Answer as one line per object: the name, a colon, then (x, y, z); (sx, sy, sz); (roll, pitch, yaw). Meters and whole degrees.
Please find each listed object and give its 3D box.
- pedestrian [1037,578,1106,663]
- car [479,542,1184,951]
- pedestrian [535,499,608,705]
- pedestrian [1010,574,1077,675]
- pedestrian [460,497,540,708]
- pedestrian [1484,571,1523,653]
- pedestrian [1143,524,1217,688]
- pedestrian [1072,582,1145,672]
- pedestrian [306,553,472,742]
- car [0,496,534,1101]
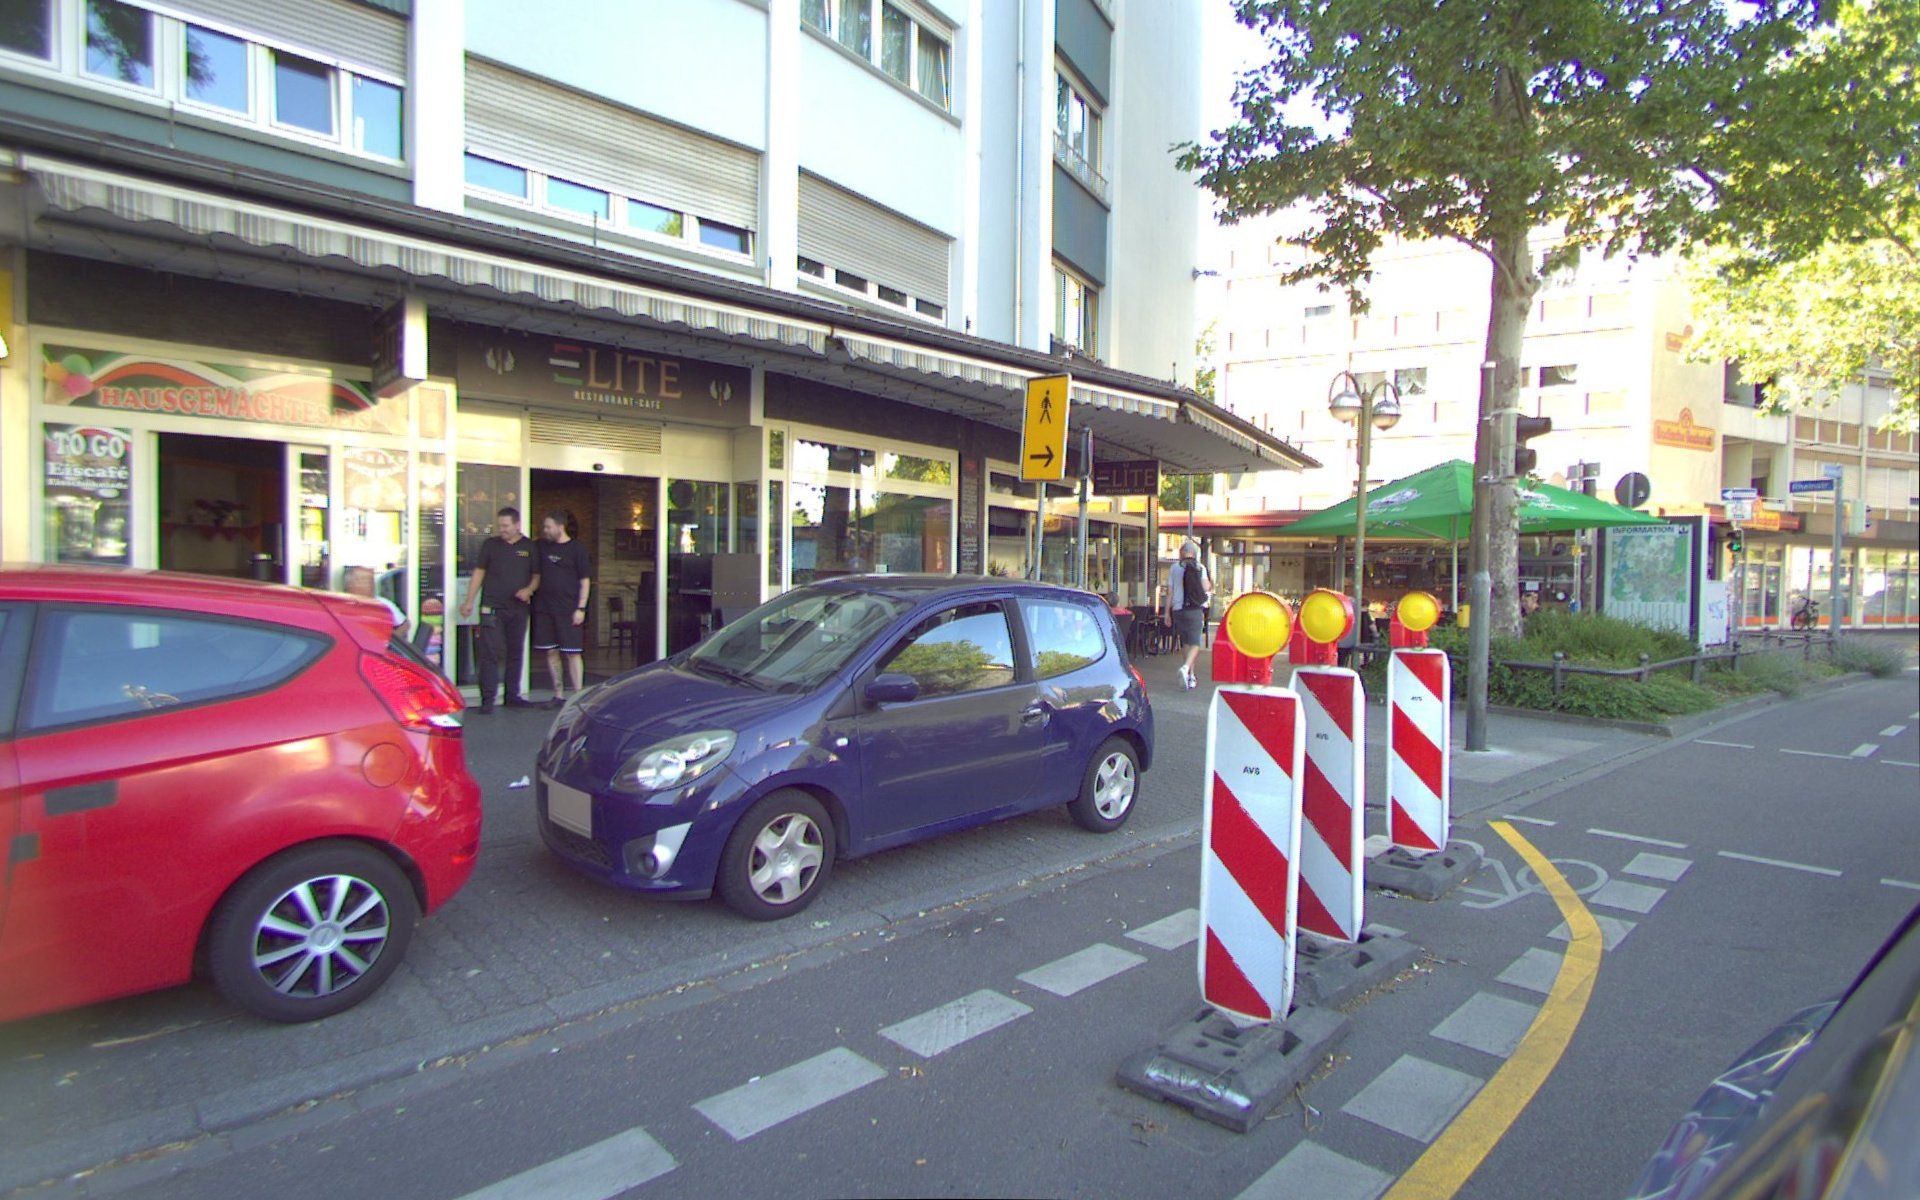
pedestrian: (1.655, 0.289, 15.041); (0.776, 1.207, 0.648); (0, 1, -34)
car: (-0.535, 0.508, 5.698); (3.551, 1.485, 1.769); (-1, 5, -44)
pedestrian: (-3.496, 0.011, 9.119); (0.545, 1.803, 0.397); (1, 3, -11)
pedestrian: (1.126, 0.314, 13.813); (0.685, 1.323, 0.793); (1, 1, -13)
pedestrian: (-4.060, 0.008, 8.939); (0.547, 1.800, 0.395); (-1, 4, -43)
pedestrian: (11.354, 0.236, 21.143); (0.624, 1.657, 0.525); (2, 1, 34)
pedestrian: (2.793, 0.054, 12.794); (0.643, 1.983, 0.880); (1, 1, 31)
pedestrian: (2.074, 0.362, 14.251); (0.685, 1.207, 0.881); (0, 1, -18)
pedestrian: (-4.507, 0.321, 7.972); (0.937, 1.352, 1.069); (0, 2, -42)
car: (-3.518, 0.480, 2.993); (3.761, 1.614, 1.784); (-1, 5, -45)
